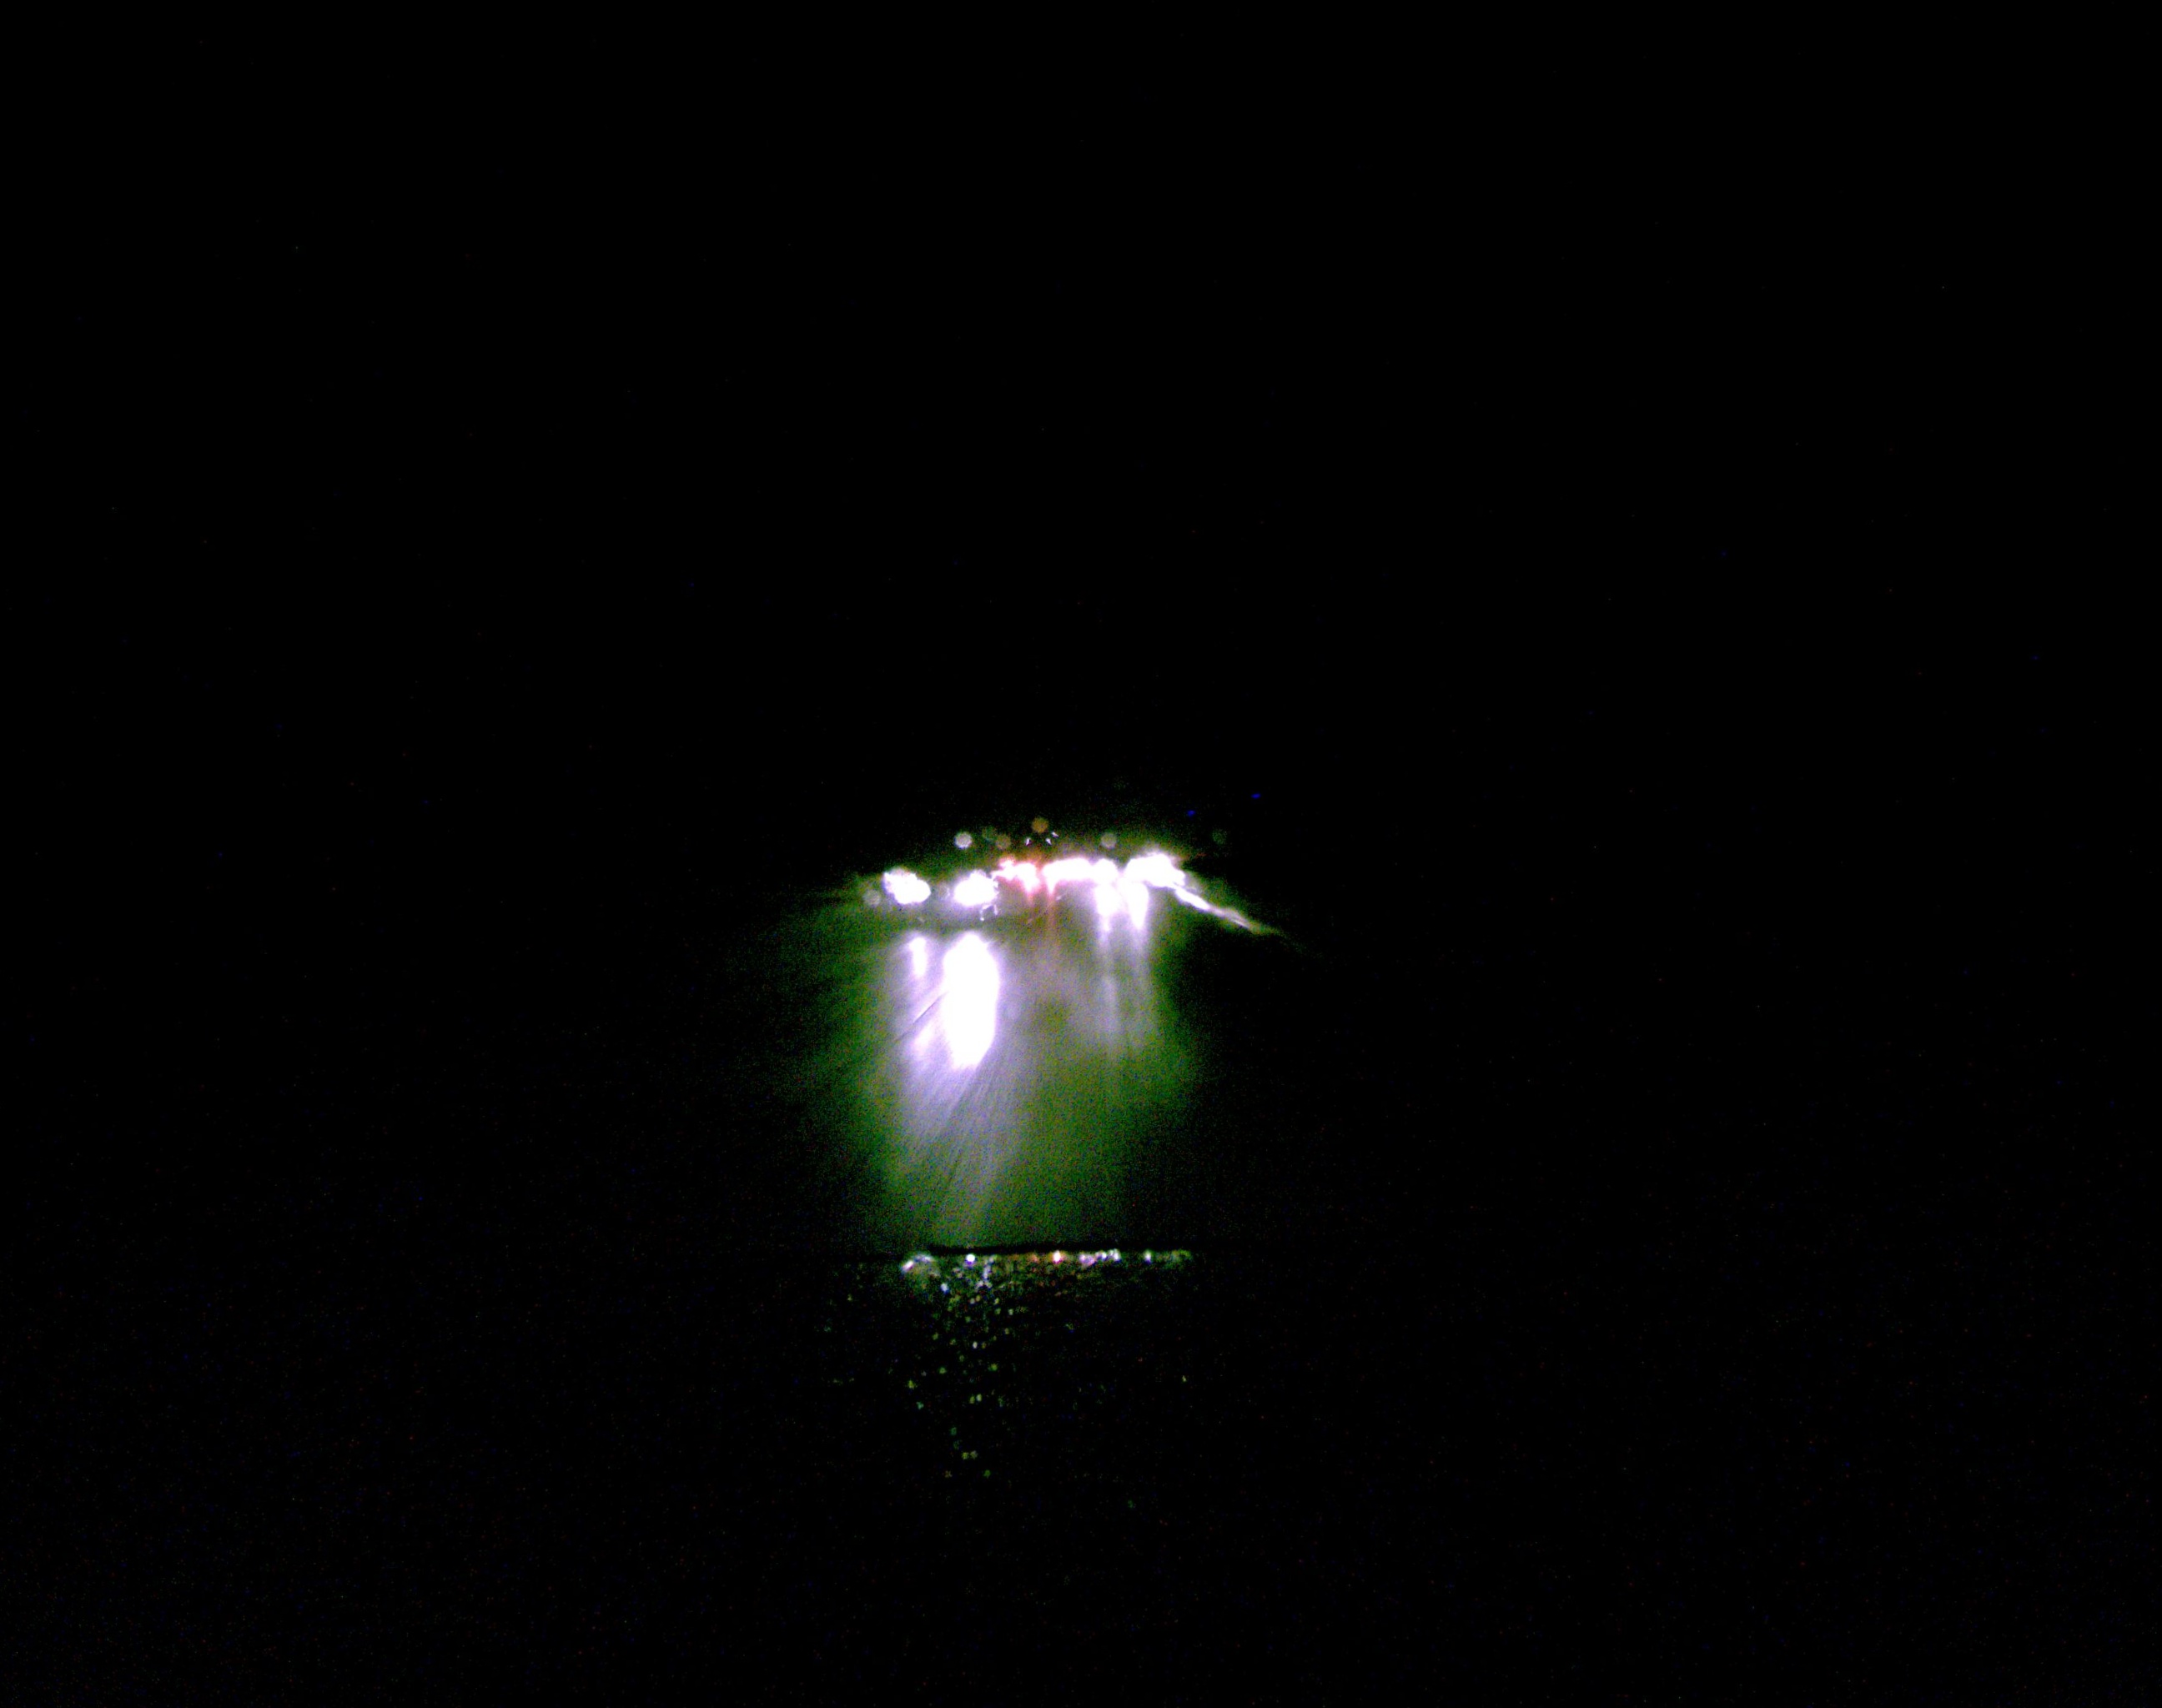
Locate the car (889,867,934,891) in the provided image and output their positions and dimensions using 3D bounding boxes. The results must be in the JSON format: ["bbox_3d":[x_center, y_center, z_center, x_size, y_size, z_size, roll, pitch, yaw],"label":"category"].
[{"bbox_3d":[-13.317,1.946,60.001,1.997,1.541,4.003,-5,0,9],"label":"car"}]

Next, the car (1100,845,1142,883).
[{"bbox_3d":[2.416,0.590,45.002,1.997,2.001,4.003,-3,-1,9],"label":"car"}]

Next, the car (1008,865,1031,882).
[{"bbox_3d":[-7.857,2.472,97.801,1.998,2.002,4.002,-5,0,7],"label":"car"}]

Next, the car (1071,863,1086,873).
[{"bbox_3d":[-0.396,2.666,141.600,1.997,1.614,4.628,-5,0,7],"label":"car"}]

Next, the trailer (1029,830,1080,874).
[{"bbox_3d":[-2.498,-0.209,78.771,2.745,3.954,13.827,-5,0,7],"label":"trailer"}]

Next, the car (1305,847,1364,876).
[{"bbox_3d":[14.803,0.410,44.620,2.129,1.517,4.000,-3,0,2],"label":"car"}]

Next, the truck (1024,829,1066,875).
[{"bbox_3d":[-3.350,-0.191,72.112,2.781,3.945,5.201,-5,0,7],"label":"truck"}]

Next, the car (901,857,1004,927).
[{"bbox_3d":[-3.365,0.961,20.630,1.847,1.614,3.680,-4,-1,4],"label":"car"}]
